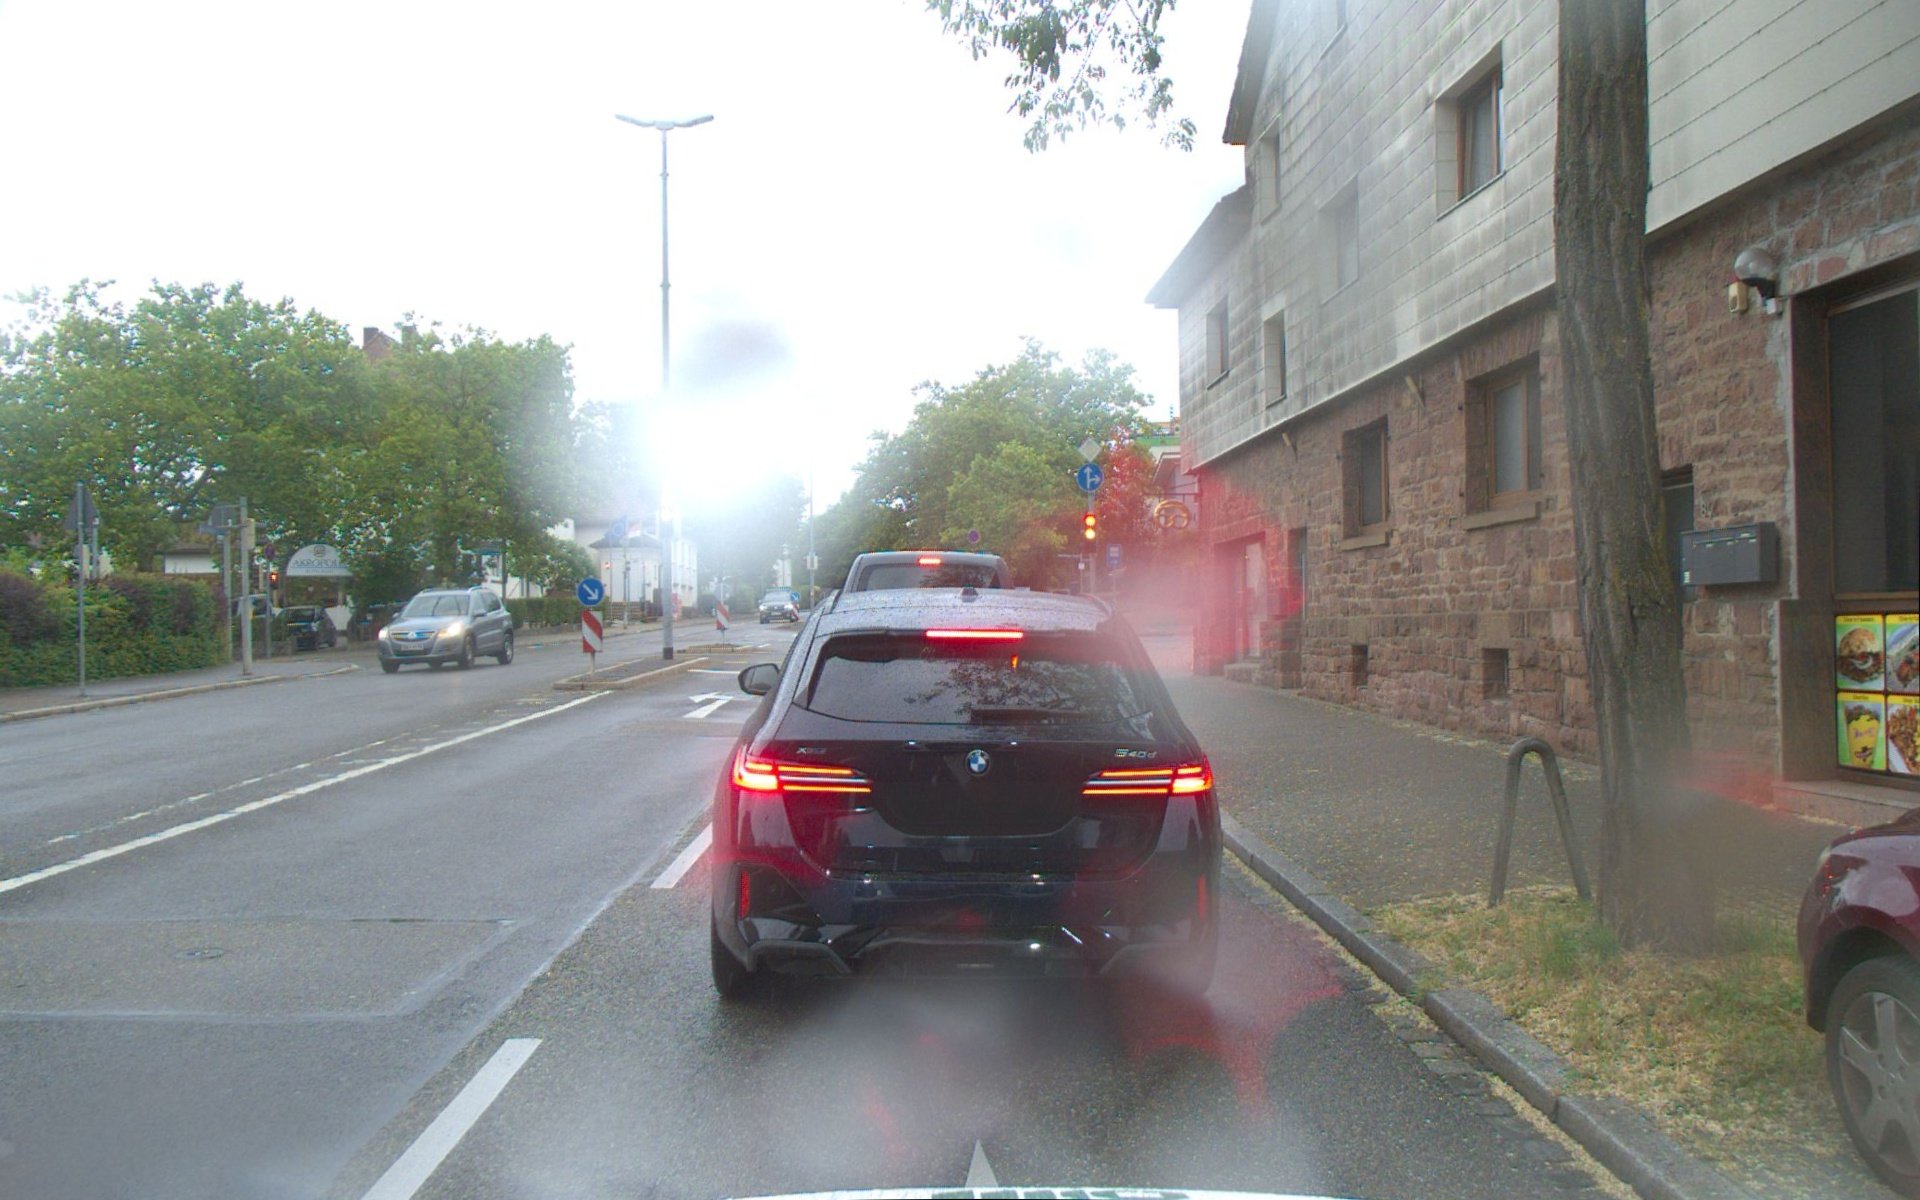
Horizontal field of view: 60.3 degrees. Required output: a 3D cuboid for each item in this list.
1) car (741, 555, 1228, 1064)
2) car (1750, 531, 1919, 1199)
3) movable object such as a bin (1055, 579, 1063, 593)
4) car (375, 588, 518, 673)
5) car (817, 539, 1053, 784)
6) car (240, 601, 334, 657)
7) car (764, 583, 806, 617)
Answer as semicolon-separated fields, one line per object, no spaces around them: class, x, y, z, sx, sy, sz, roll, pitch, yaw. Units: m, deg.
car;-0.027;0.664;6.895;1.494;1.561;3.529;1;0;-4
car;3.065;0.583;2.701;1.578;1.530;3.753;1;-2;-4
movable object such as a bin;6.889;-0.975;115.378;0.440;0.921;0.463;1;-1;14
car;-10.663;0.583;34.655;1.870;1.618;4.314;-2;0;-4
car;-0.302;0.481;14.512;1.776;1.840;3.753;1;0;-4
car;-23.137;0.966;57.002;1.772;1.578;4.000;1;4;-3
car;-8.707;-0.020;82.651;1.861;1.604;4.499;-1;1;-4
